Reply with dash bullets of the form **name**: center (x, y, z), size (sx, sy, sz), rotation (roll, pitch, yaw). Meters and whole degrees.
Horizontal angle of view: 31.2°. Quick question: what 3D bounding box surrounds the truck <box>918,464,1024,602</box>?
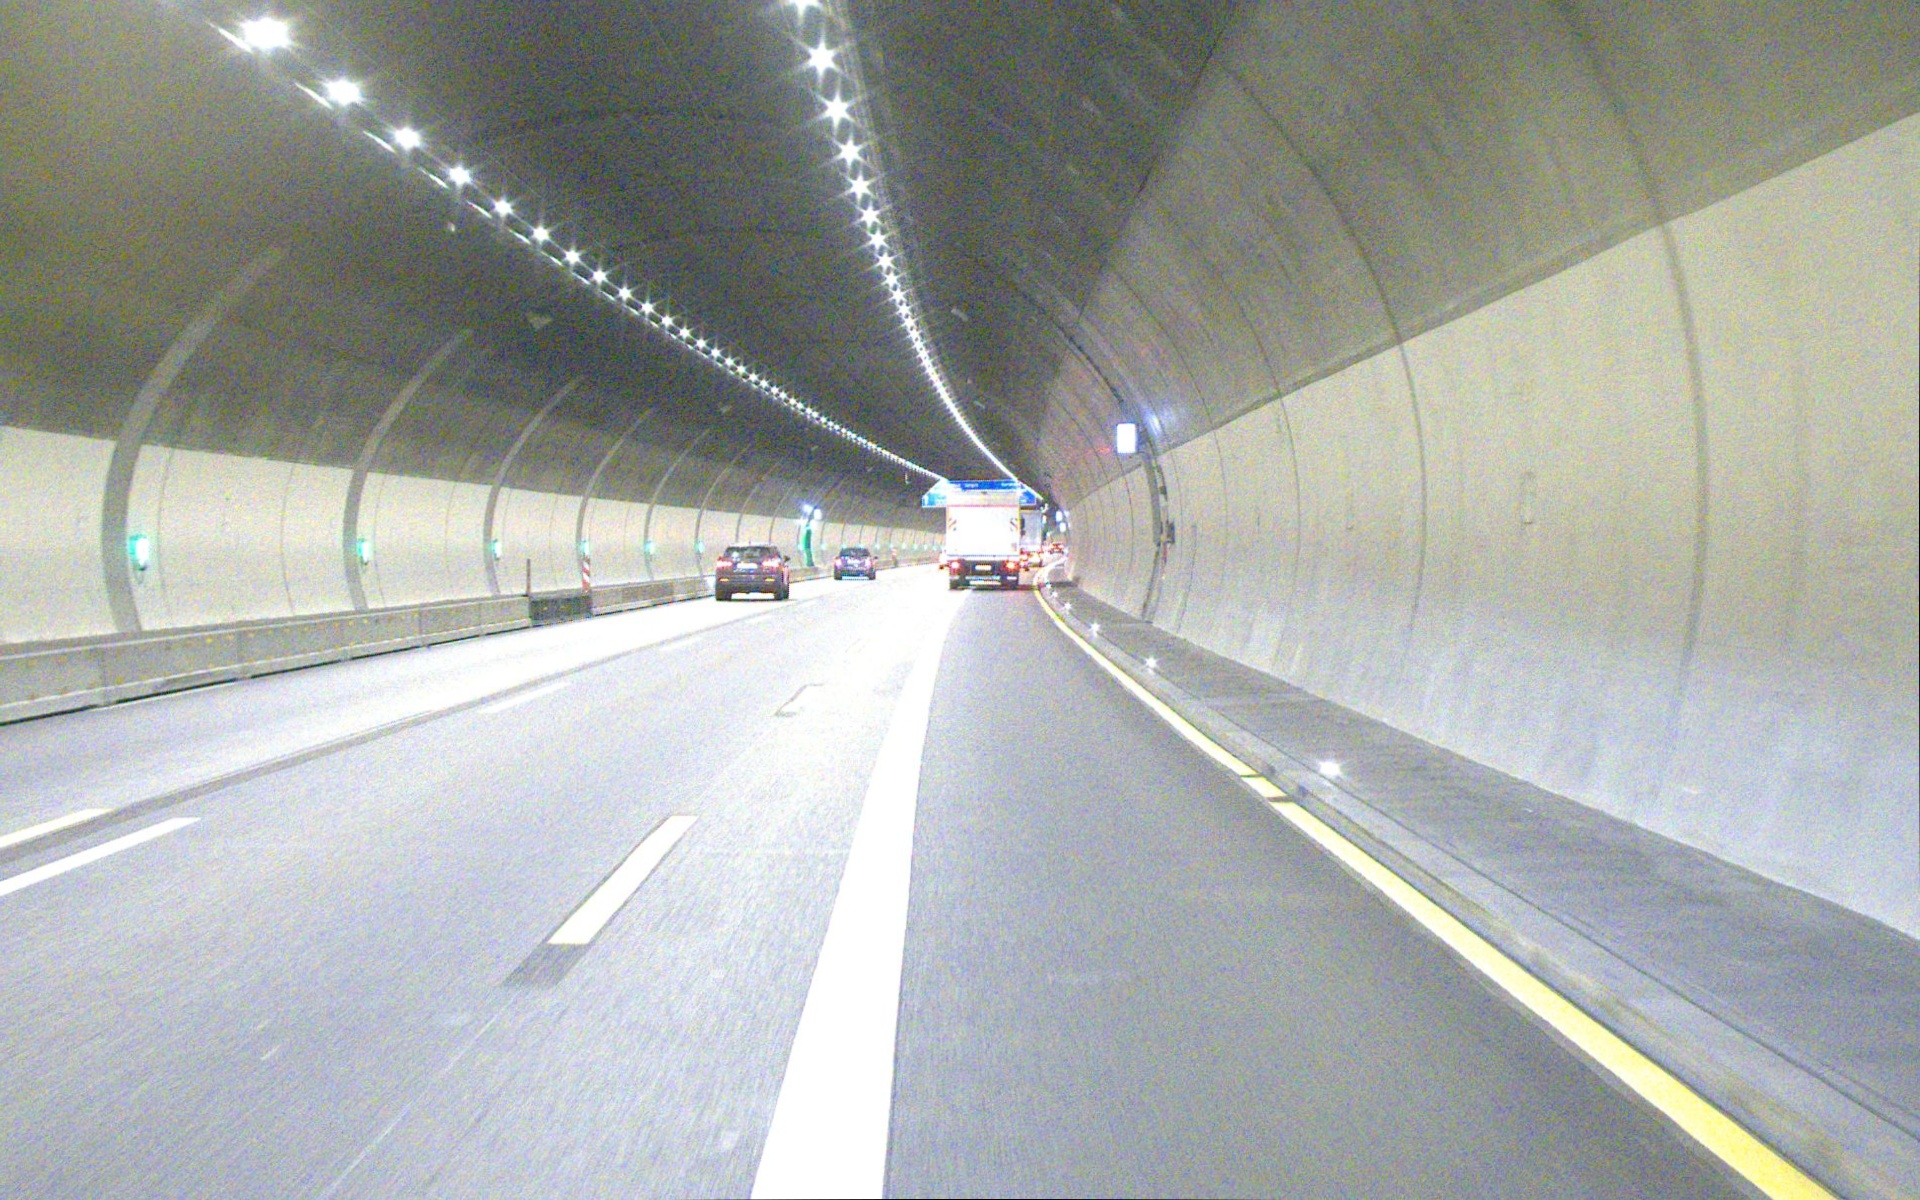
- **truck**: center (0.283, -2.434, 125.642), size (3.278, 4.634, 17.288), rotation (-1, 1, -2)

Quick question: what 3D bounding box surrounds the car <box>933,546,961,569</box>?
- **car**: center (-0.811, -2.659, 215.363), size (1.650, 1.270, 4.001), rotation (1, 3, -2)

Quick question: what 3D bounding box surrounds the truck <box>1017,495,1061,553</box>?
- **truck**: center (5.658, -5.456, 248.361), size (2.923, 4.034, 14.030), rotation (-1, 1, 0)

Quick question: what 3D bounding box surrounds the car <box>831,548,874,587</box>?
- **car**: center (-4.660, -1.422, 149.307), size (1.812, 1.514, 4.001), rotation (1, 3, -2)

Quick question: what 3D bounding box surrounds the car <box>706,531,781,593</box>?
- **car**: center (-5.873, -1.060, 93.507), size (1.812, 1.612, 4.000), rotation (1, 1, 0)
